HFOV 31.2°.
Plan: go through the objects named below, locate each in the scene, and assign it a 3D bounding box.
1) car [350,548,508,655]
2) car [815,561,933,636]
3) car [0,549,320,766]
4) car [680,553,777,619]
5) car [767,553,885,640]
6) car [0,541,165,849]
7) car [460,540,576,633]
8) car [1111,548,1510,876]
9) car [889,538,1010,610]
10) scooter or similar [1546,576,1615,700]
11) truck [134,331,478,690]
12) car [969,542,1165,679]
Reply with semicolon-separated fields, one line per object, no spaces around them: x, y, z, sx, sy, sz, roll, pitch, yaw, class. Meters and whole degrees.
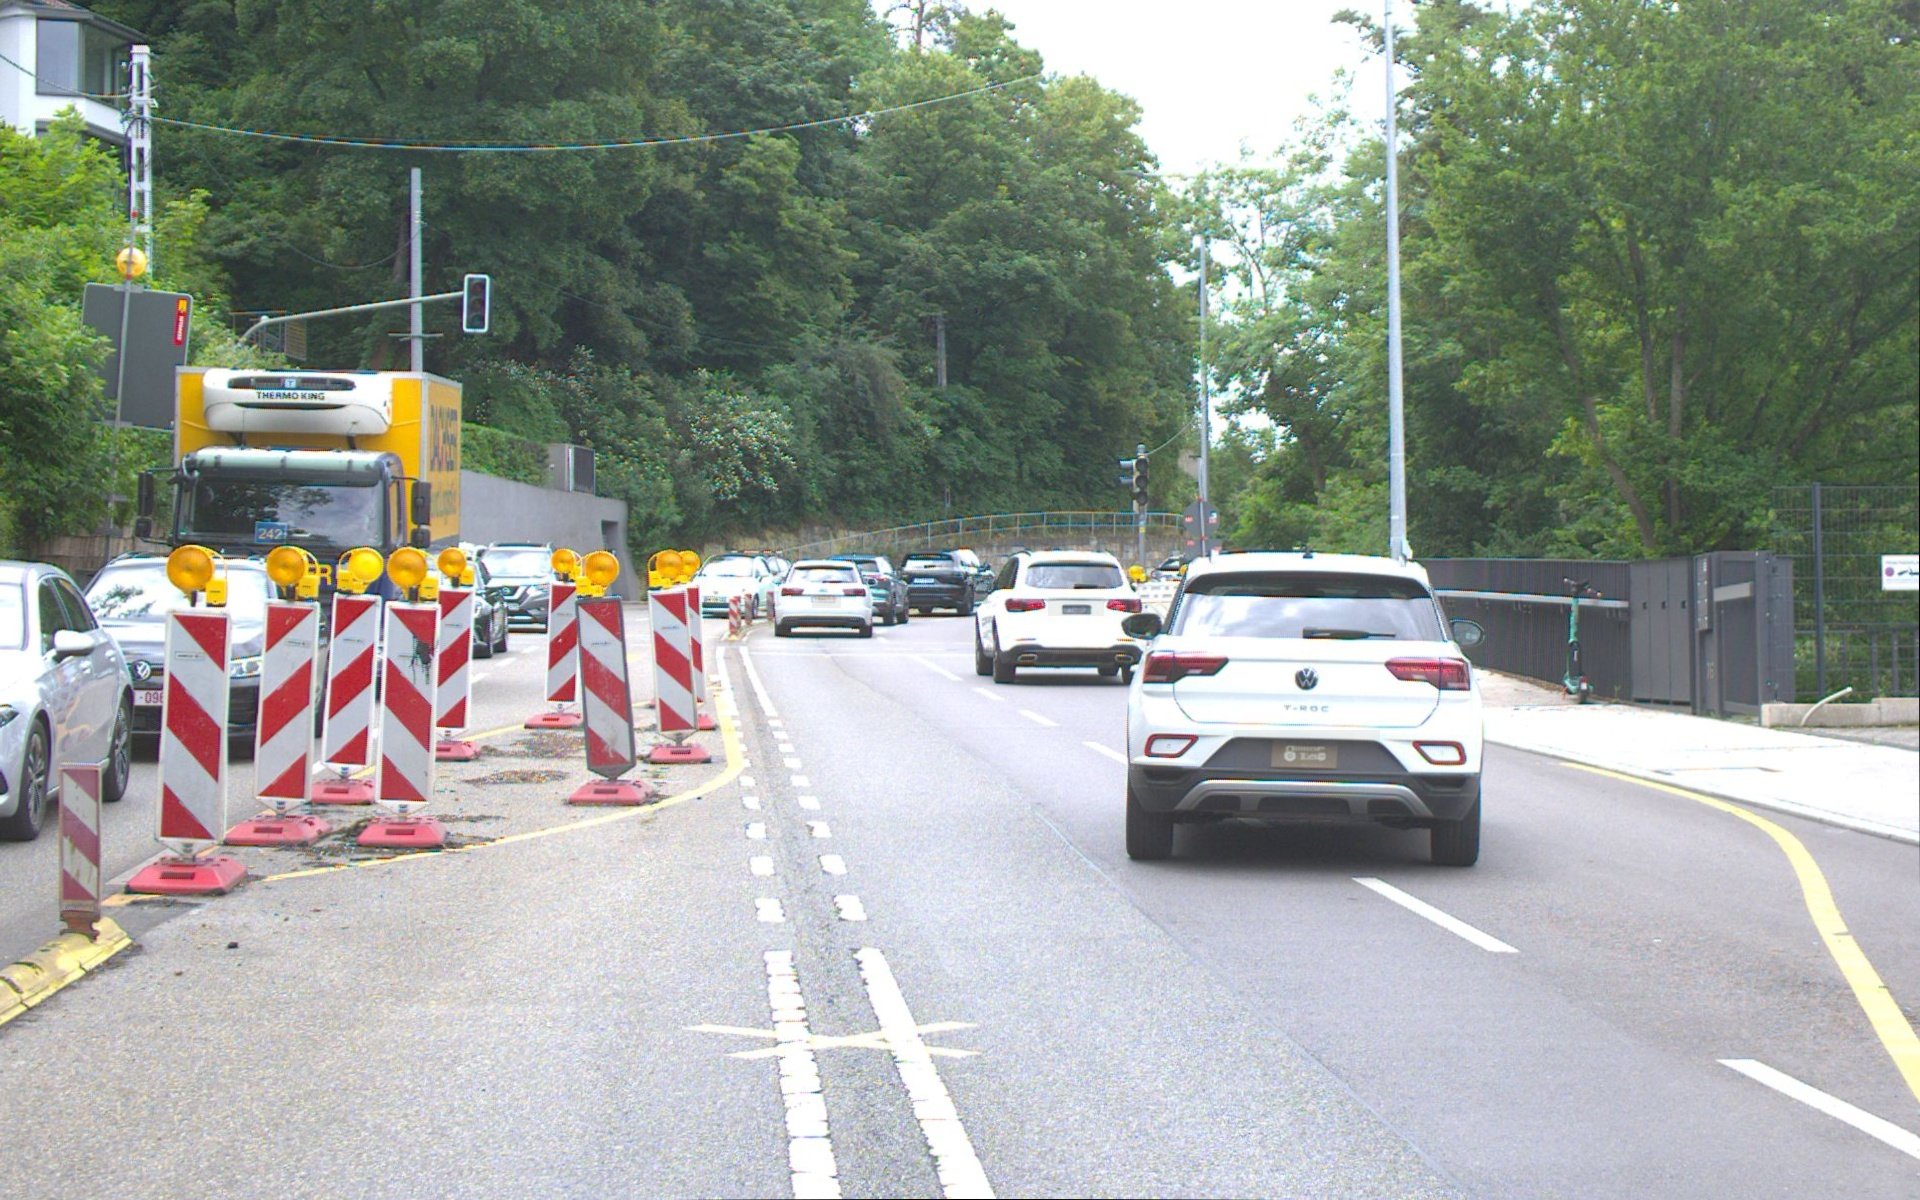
-7.629;-0.018;49.765;1.809;1.425;4.875;1;1;-4;car
-1.870;-0.044;76.155;1.994;1.535;4.009;2;0;7;car
-6.023;0.372;25.972;1.770;1.436;4.746;2;0;-4;car
-5.409;-0.351;80.835;1.711;1.461;3.660;2;1;5;car
-2.544;-0.078;66.047;1.906;1.568;4.000;2;0;2;car
-5.626;0.415;18.897;1.791;1.502;4.312;2;0;-5;car
-8.346;-0.278;65.189;1.883;1.691;4.672;1;1;-4;car
1.789;0.513;18.264;1.867;1.531;3.803;1;1;4;car
-0.240;-0.630;85.219;1.817;1.684;3.996;2;0;18;car
6.405;0.378;35.514;0.534;1.222;1.206;-1;2;3;scooter or similar
-6.940;-0.911;37.457;2.730;3.498;7.351;1;0;-3;truck
1.296;0.108;43.374;1.993;1.581;4.001;2;0;-4;car
